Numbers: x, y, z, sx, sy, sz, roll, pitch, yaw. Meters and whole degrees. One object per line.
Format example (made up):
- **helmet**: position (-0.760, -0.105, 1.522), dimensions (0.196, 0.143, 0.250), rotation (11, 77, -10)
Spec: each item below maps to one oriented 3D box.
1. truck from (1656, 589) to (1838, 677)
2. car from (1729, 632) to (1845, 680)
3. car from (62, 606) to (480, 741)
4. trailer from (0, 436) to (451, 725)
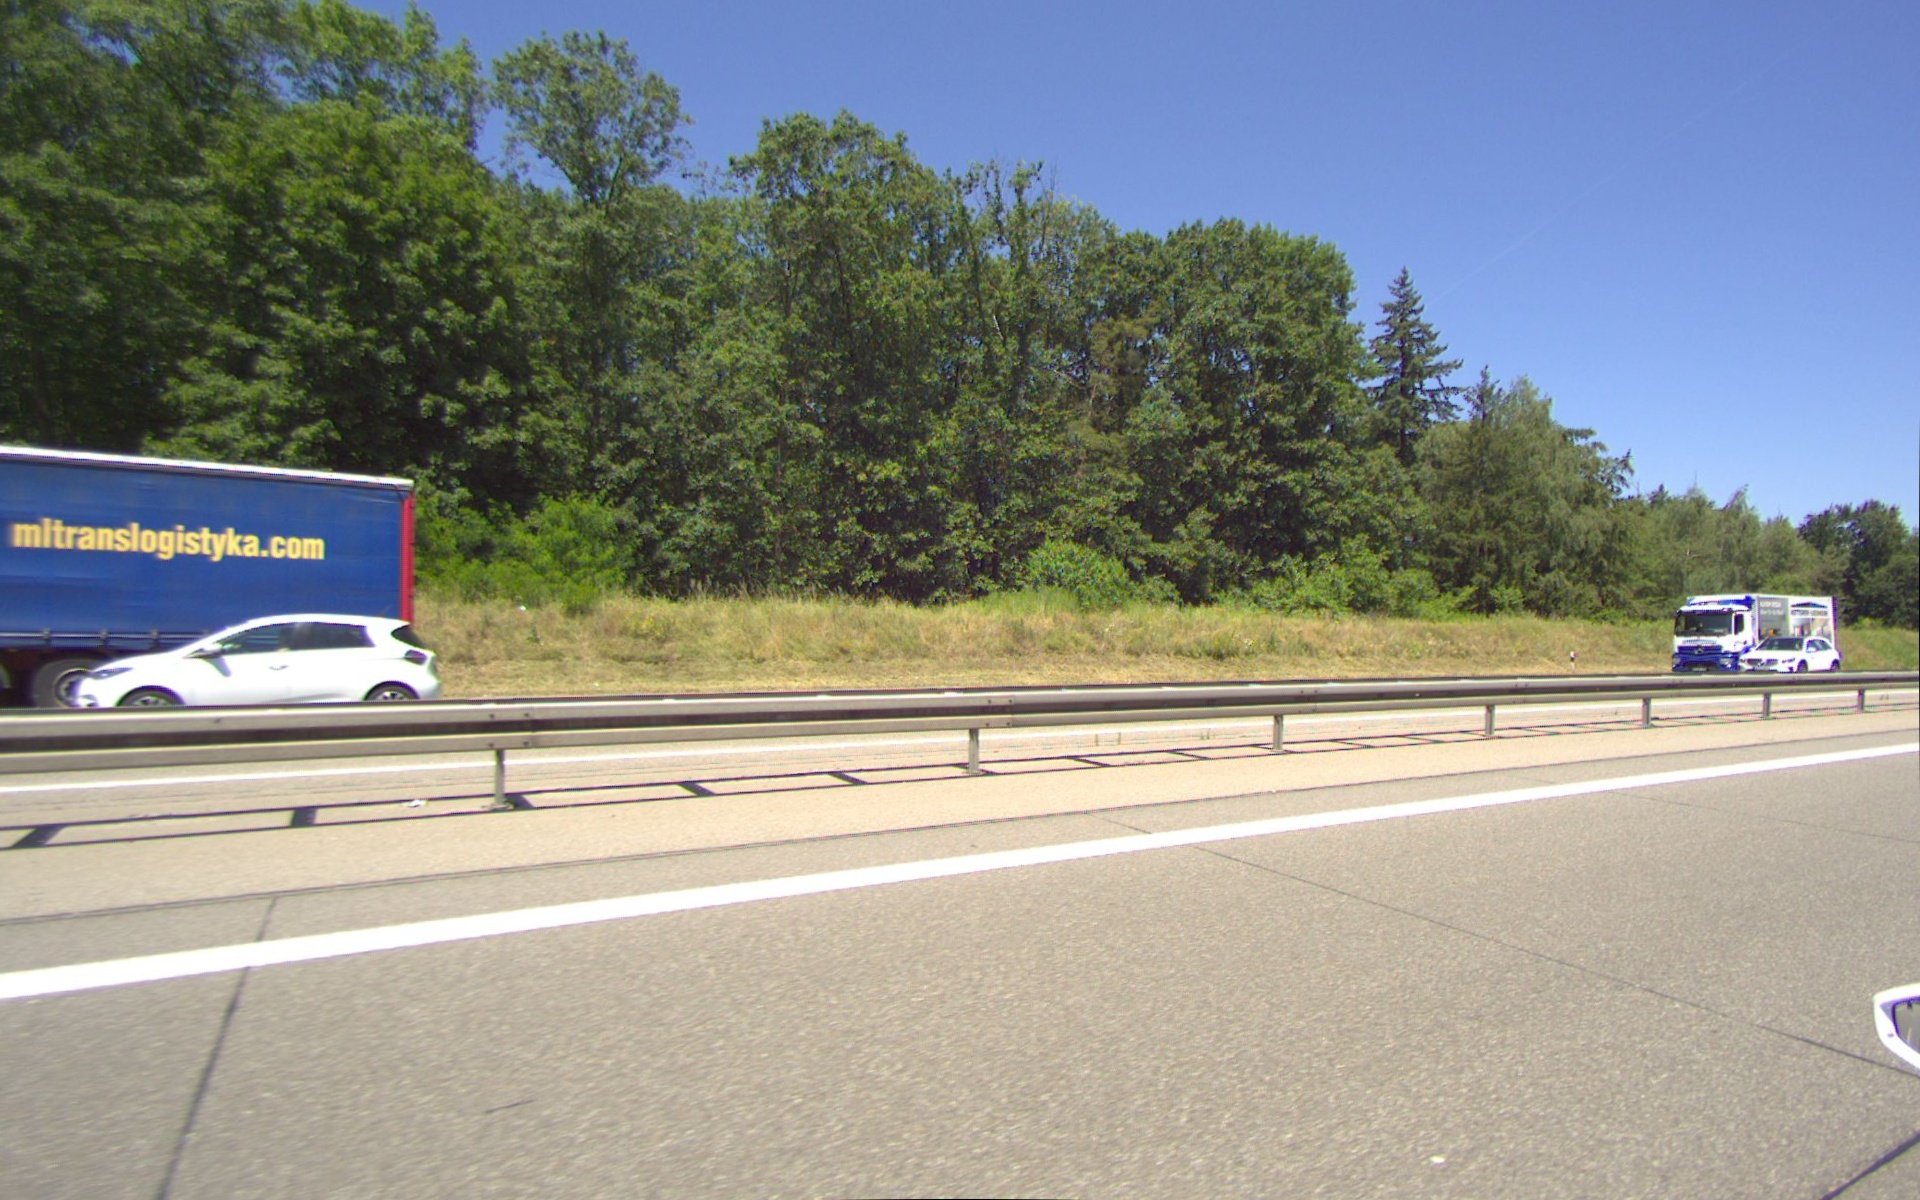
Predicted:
- **truck**: position (34.841, 1.535, 44.315), dimensions (10.321, 3.564, 2.719), rotation (2, -4, -31)
- **car**: position (30.536, 2.074, 37.044), dimensions (5.031, 1.667, 1.718), rotation (2, -4, -31)
- **car**: position (-9.051, 0.968, 13.661), dimensions (4.417, 1.579, 1.597), rotation (2, -4, -31)
- **trailer**: position (-15.375, -0.259, 14.456), dimensions (14.199, 4.066, 2.494), rotation (2, -4, -30)
